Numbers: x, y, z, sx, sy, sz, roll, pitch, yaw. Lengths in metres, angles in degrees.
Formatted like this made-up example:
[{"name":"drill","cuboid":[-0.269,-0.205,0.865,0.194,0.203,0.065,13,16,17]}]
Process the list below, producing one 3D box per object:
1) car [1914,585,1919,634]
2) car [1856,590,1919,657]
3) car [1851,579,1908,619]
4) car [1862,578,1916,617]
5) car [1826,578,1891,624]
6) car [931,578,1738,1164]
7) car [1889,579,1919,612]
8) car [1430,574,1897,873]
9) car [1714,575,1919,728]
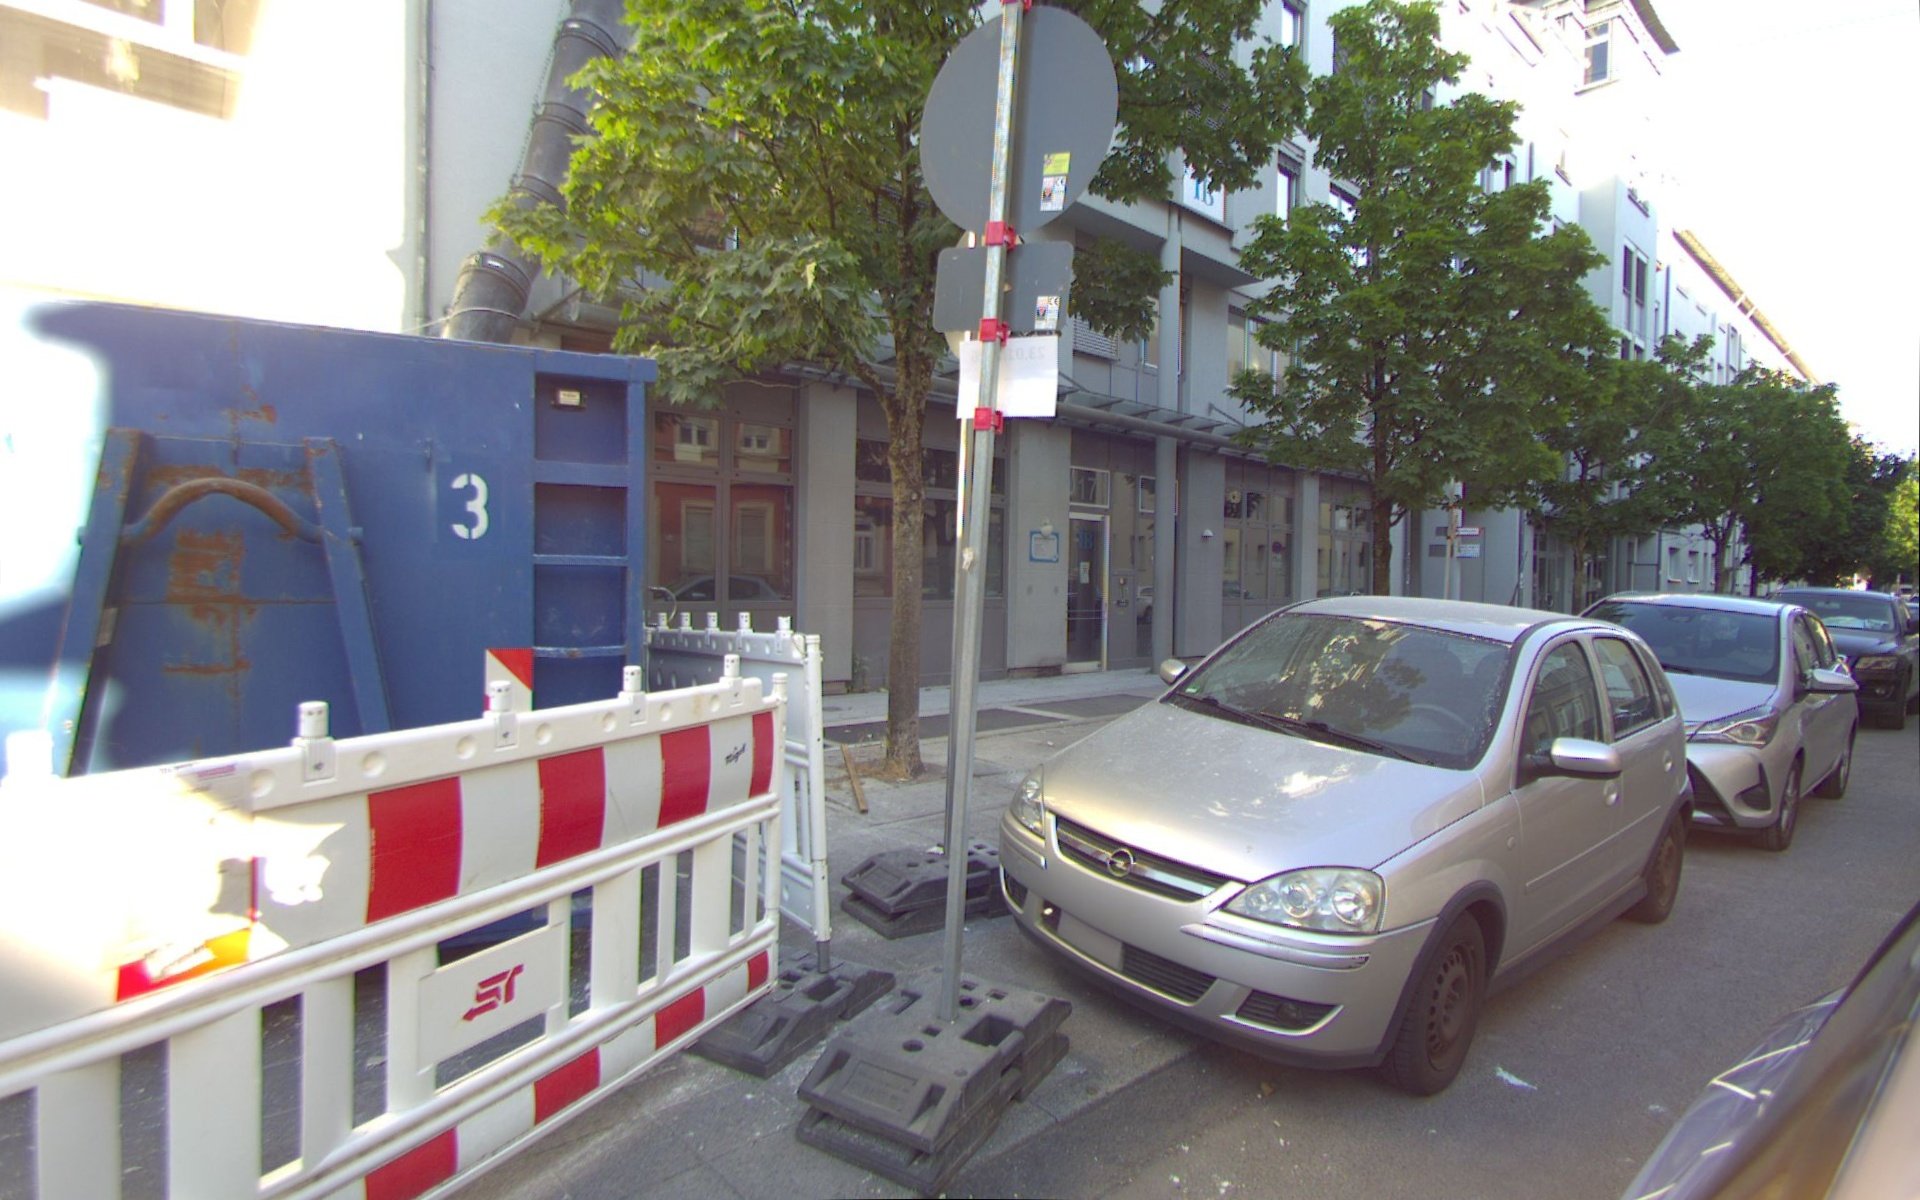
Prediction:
[{"name":"car","cuboid":[35.012,0.338,35.720,1.851,1.680,3.936,1,1,44]},{"name":"car","cuboid":[23.211,0.523,24.609,3.934,1.507,1.852,0,1,-44]},{"name":"car","cuboid":[48.466,-0.071,53.335,3.935,2.039,1.995,0,1,-45]},{"name":"car","cuboid":[51.716,-0.165,56.324,3.935,2.039,1.995,0,1,-45]},{"name":"car","cuboid":[41.682,0.026,46.911,3.935,2.039,1.995,0,1,-45]},{"name":"car","cuboid":[1.929,0.659,4.480,3.995,1.465,1.637,0,1,-41]},{"name":"car","cuboid":[60.950,-0.295,64.764,3.935,2.039,1.995,0,1,-45]},{"name":"car","cuboid":[5.315,0.638,7.459,3.930,1.605,1.911,0,1,-41]},{"name":"car","cuboid":[11.727,0.546,13.493,4.315,1.710,1.861,0,1,-42]}]
